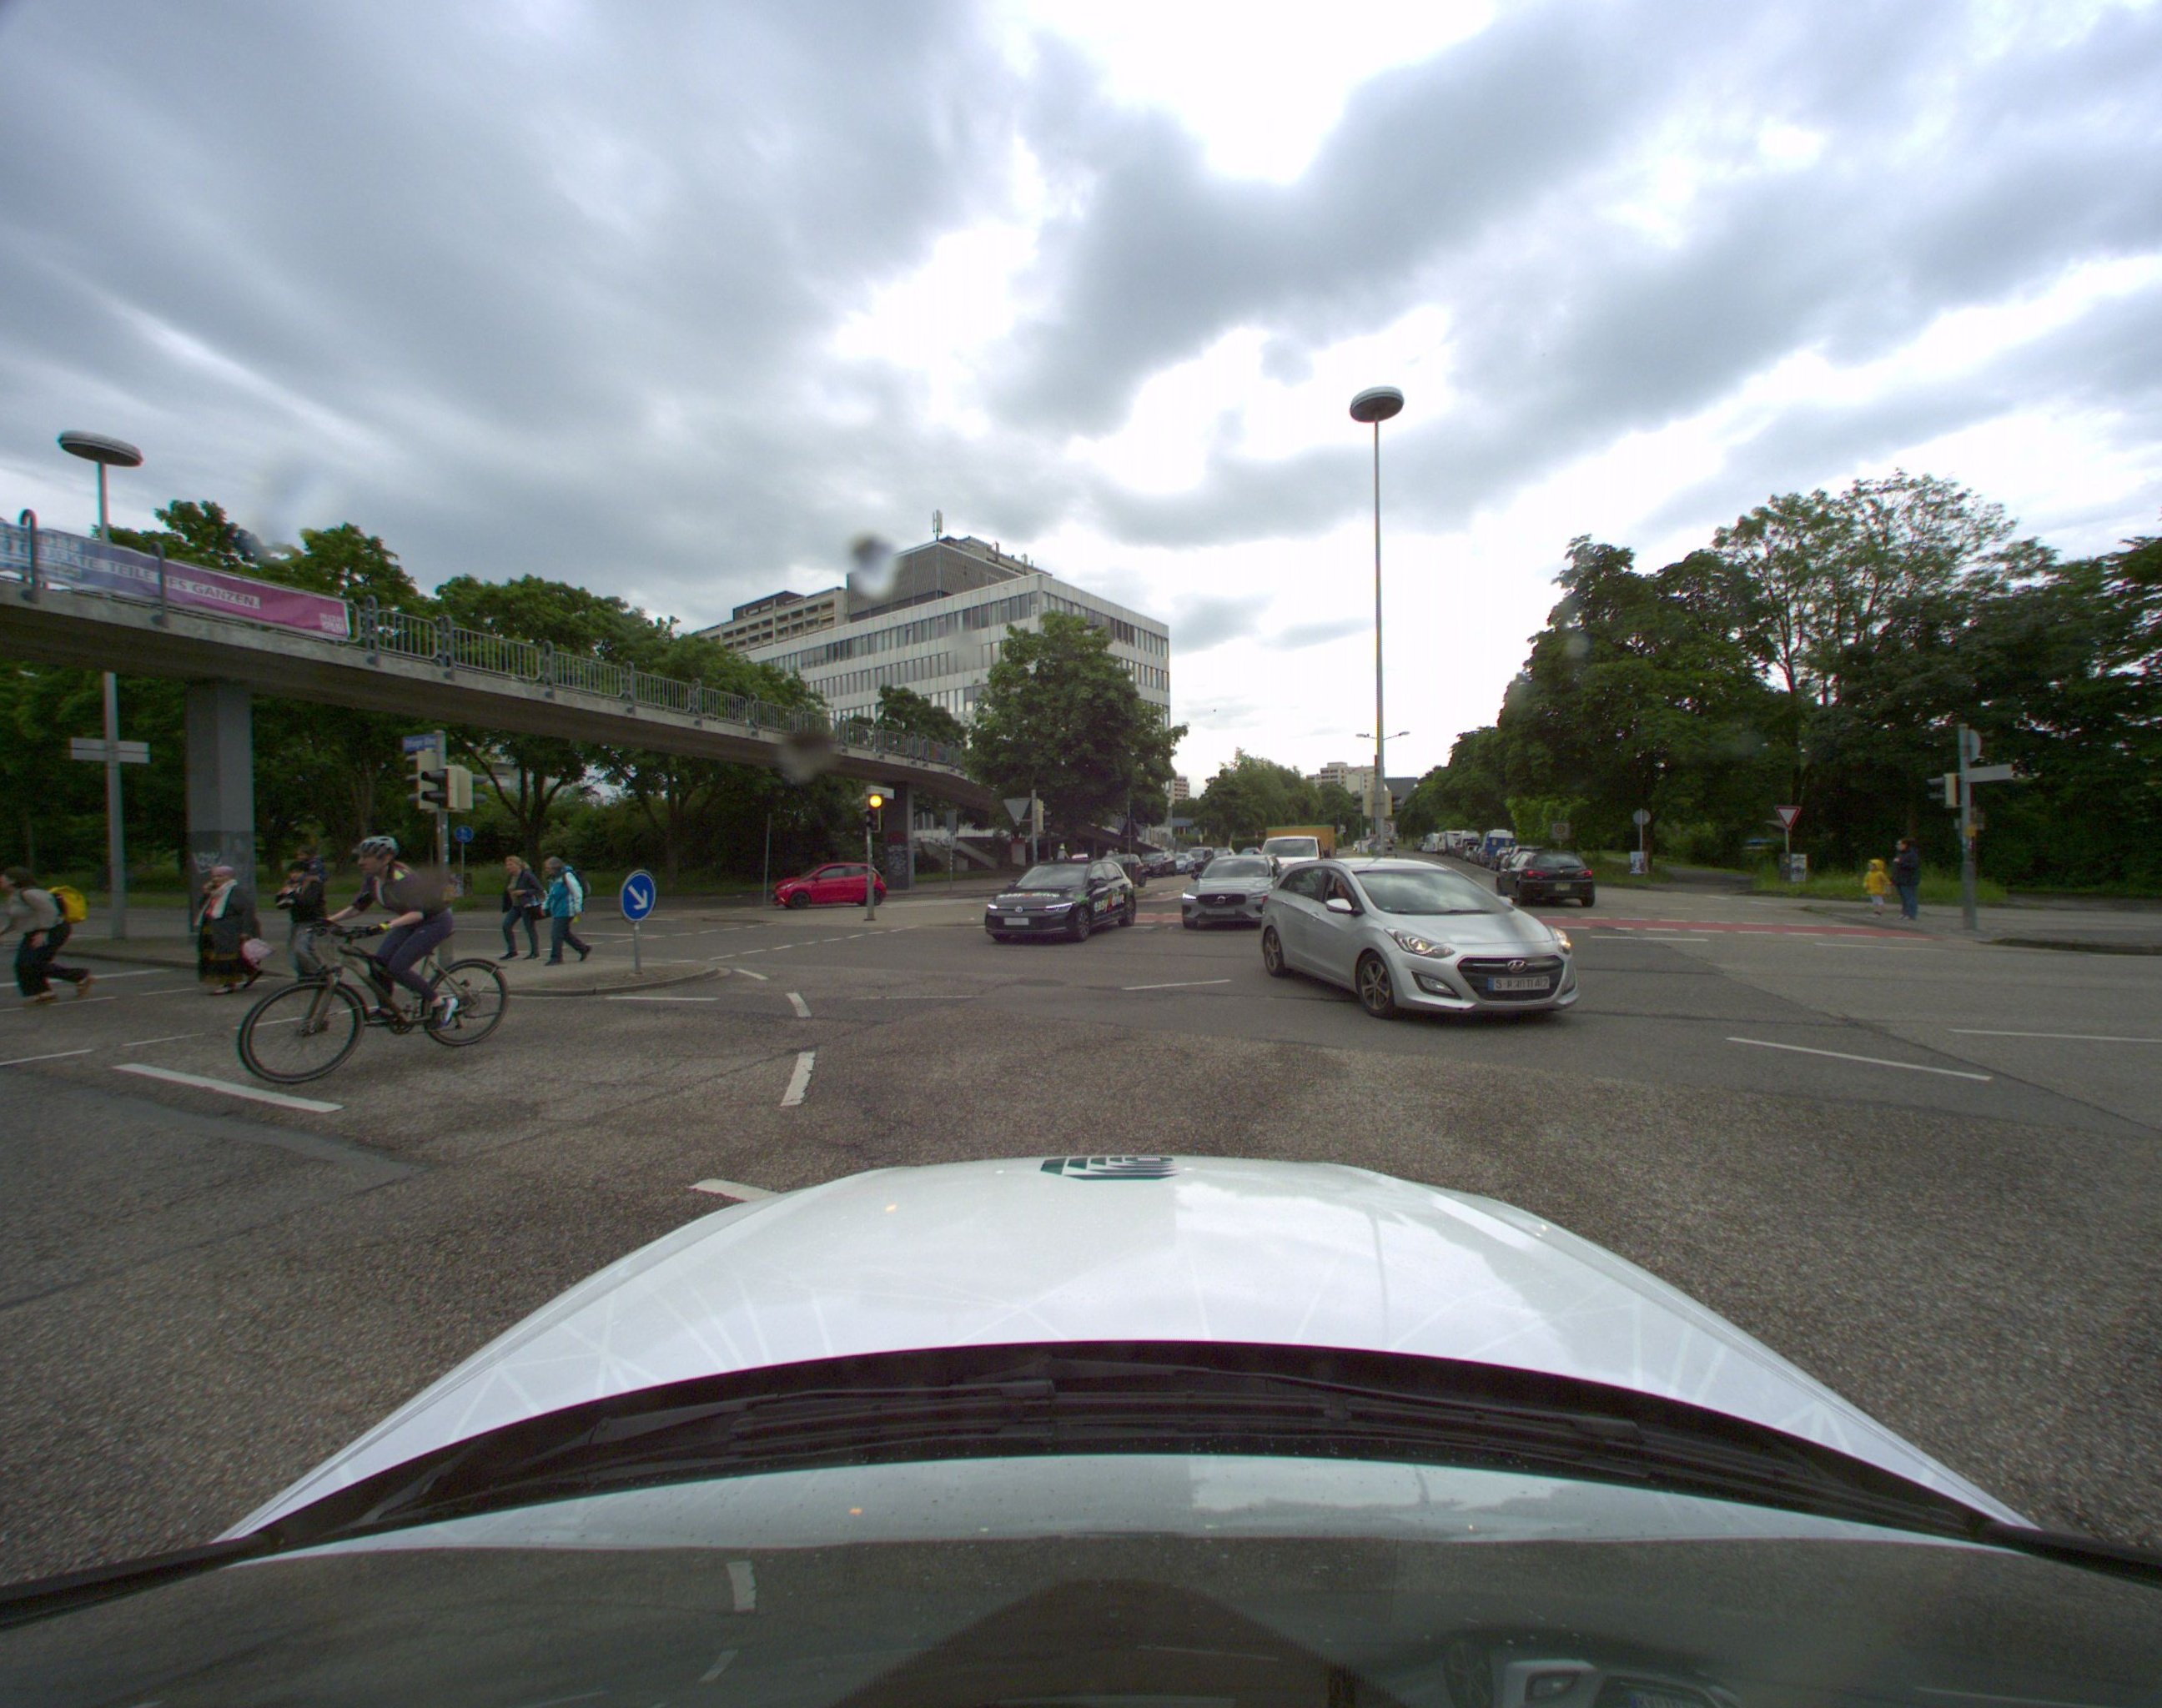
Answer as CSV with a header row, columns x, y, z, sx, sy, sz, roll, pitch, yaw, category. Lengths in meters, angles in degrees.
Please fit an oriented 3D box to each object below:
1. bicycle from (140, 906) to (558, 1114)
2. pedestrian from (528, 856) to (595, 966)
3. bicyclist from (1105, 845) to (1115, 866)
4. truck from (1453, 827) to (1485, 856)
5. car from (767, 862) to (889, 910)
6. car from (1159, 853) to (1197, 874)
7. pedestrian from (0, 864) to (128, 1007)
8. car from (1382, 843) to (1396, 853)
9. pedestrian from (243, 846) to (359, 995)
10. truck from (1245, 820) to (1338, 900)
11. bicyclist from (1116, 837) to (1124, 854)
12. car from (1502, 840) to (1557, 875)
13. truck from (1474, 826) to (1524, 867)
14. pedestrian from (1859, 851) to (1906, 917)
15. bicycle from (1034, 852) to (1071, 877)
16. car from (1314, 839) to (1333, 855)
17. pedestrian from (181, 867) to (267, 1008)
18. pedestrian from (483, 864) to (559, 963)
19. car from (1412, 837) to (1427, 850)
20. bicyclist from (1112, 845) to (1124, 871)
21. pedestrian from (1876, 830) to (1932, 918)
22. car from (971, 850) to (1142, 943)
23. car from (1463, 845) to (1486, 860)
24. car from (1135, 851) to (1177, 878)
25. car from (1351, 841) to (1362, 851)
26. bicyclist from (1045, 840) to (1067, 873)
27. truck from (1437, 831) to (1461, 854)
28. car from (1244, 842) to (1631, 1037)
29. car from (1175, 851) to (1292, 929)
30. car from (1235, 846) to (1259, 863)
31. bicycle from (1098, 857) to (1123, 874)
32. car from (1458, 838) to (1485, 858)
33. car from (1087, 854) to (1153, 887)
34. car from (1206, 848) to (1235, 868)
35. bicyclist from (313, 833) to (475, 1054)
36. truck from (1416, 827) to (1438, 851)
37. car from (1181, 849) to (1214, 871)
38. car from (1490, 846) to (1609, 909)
x,y,z,sx,sy,sz,roll,pitch,yaw,category
-5.327,1.035,6.203,0.720,1.101,2.275,-1,1,19,bicycle
-7.827,0.838,12.283,0.682,1.604,0.490,-1,0,15,pedestrian
1.732,0.087,49.196,0.401,1.181,0.379,5,3,21,bicyclist
39.833,-1.311,83.799,1.978,2.838,5.756,-1,0,16,truck
-8.168,0.978,26.355,3.544,1.390,1.502,-1,0,-31,car
6.709,0.634,56.098,1.657,1.387,3.915,-1,1,20,car
-11.918,0.924,9.530,0.577,1.579,0.782,-1,0,1,pedestrian
50.084,-1.003,132.503,2.003,1.505,4.020,-1,1,19,car
-9.851,0.802,10.314,0.633,1.803,0.804,-1,0,11,pedestrian
6.767,0.129,25.682,2.137,2.199,5.871,-1,1,21,truck
2.829,-0.586,59.351,0.427,1.217,0.570,-1,0,19,bicyclist
22.382,0.133,40.782,1.769,1.662,4.020,-1,1,19,car
28.857,-0.518,56.397,2.156,2.656,6.277,-2,0,19,truck
16.841,0.623,17.114,0.522,1.342,0.527,-1,0,19,pedestrian
-1.587,0.573,46.741,0.848,1.315,3.247,-1,1,22,bicycle
31.061,-0.862,104.288,1.977,2.013,4.021,-1,1,21,car
-10.560,1.011,10.047,0.615,1.691,0.406,-1,0,5,pedestrian
-8.729,0.918,12.705,0.912,1.511,0.405,-1,0,8,pedestrian
50.331,-1.593,121.197,1.639,1.918,3.935,-1,1,16,car
2.386,0.262,52.964,0.559,1.644,0.535,-1,0,29,bicyclist
16.704,0.395,16.539,0.651,1.749,0.461,-1,0,19,pedestrian
-0.283,0.693,15.706,1.755,1.477,4.412,-1,1,20,car
34.348,-0.157,71.143,1.314,1.191,3.670,-1,1,18,car
4.720,0.650,50.944,1.657,1.552,3.912,-1,1,20,car
46.015,-1.377,135.968,1.630,1.593,4.021,-1,0,21,car
-1.425,0.155,47.220,0.848,1.892,1.134,-1,1,21,bicyclist
43.113,-1.363,95.507,1.978,2.572,5.403,-1,0,18,truck
3.357,0.664,8.751,1.788,1.519,4.313,-1,1,-9,car
3.416,0.686,17.461,1.882,1.420,4.757,-1,-1,17,car
16.321,0.063,80.041,1.657,1.552,4.021,-1,1,20,car
1.784,0.701,49.438,0.755,0.949,1.965,-1,0,26,bicycle
35.898,-0.556,75.003,1.706,1.759,4.019,-1,0,18,car
1.806,0.709,36.666,1.543,1.346,2.991,-1,1,36,car
11.619,0.302,67.758,1.657,1.552,4.021,-1,1,20,car
-5.300,0.649,6.307,0.673,1.594,0.698,-1,0,19,bicyclist
45.152,-1.878,106.283,1.978,3.009,5.797,-1,0,16,truck
8.788,0.396,61.042,1.657,1.552,3.781,-1,1,20,car
12.436,0.557,21.928,1.783,1.457,4.561,-1,1,17,car
